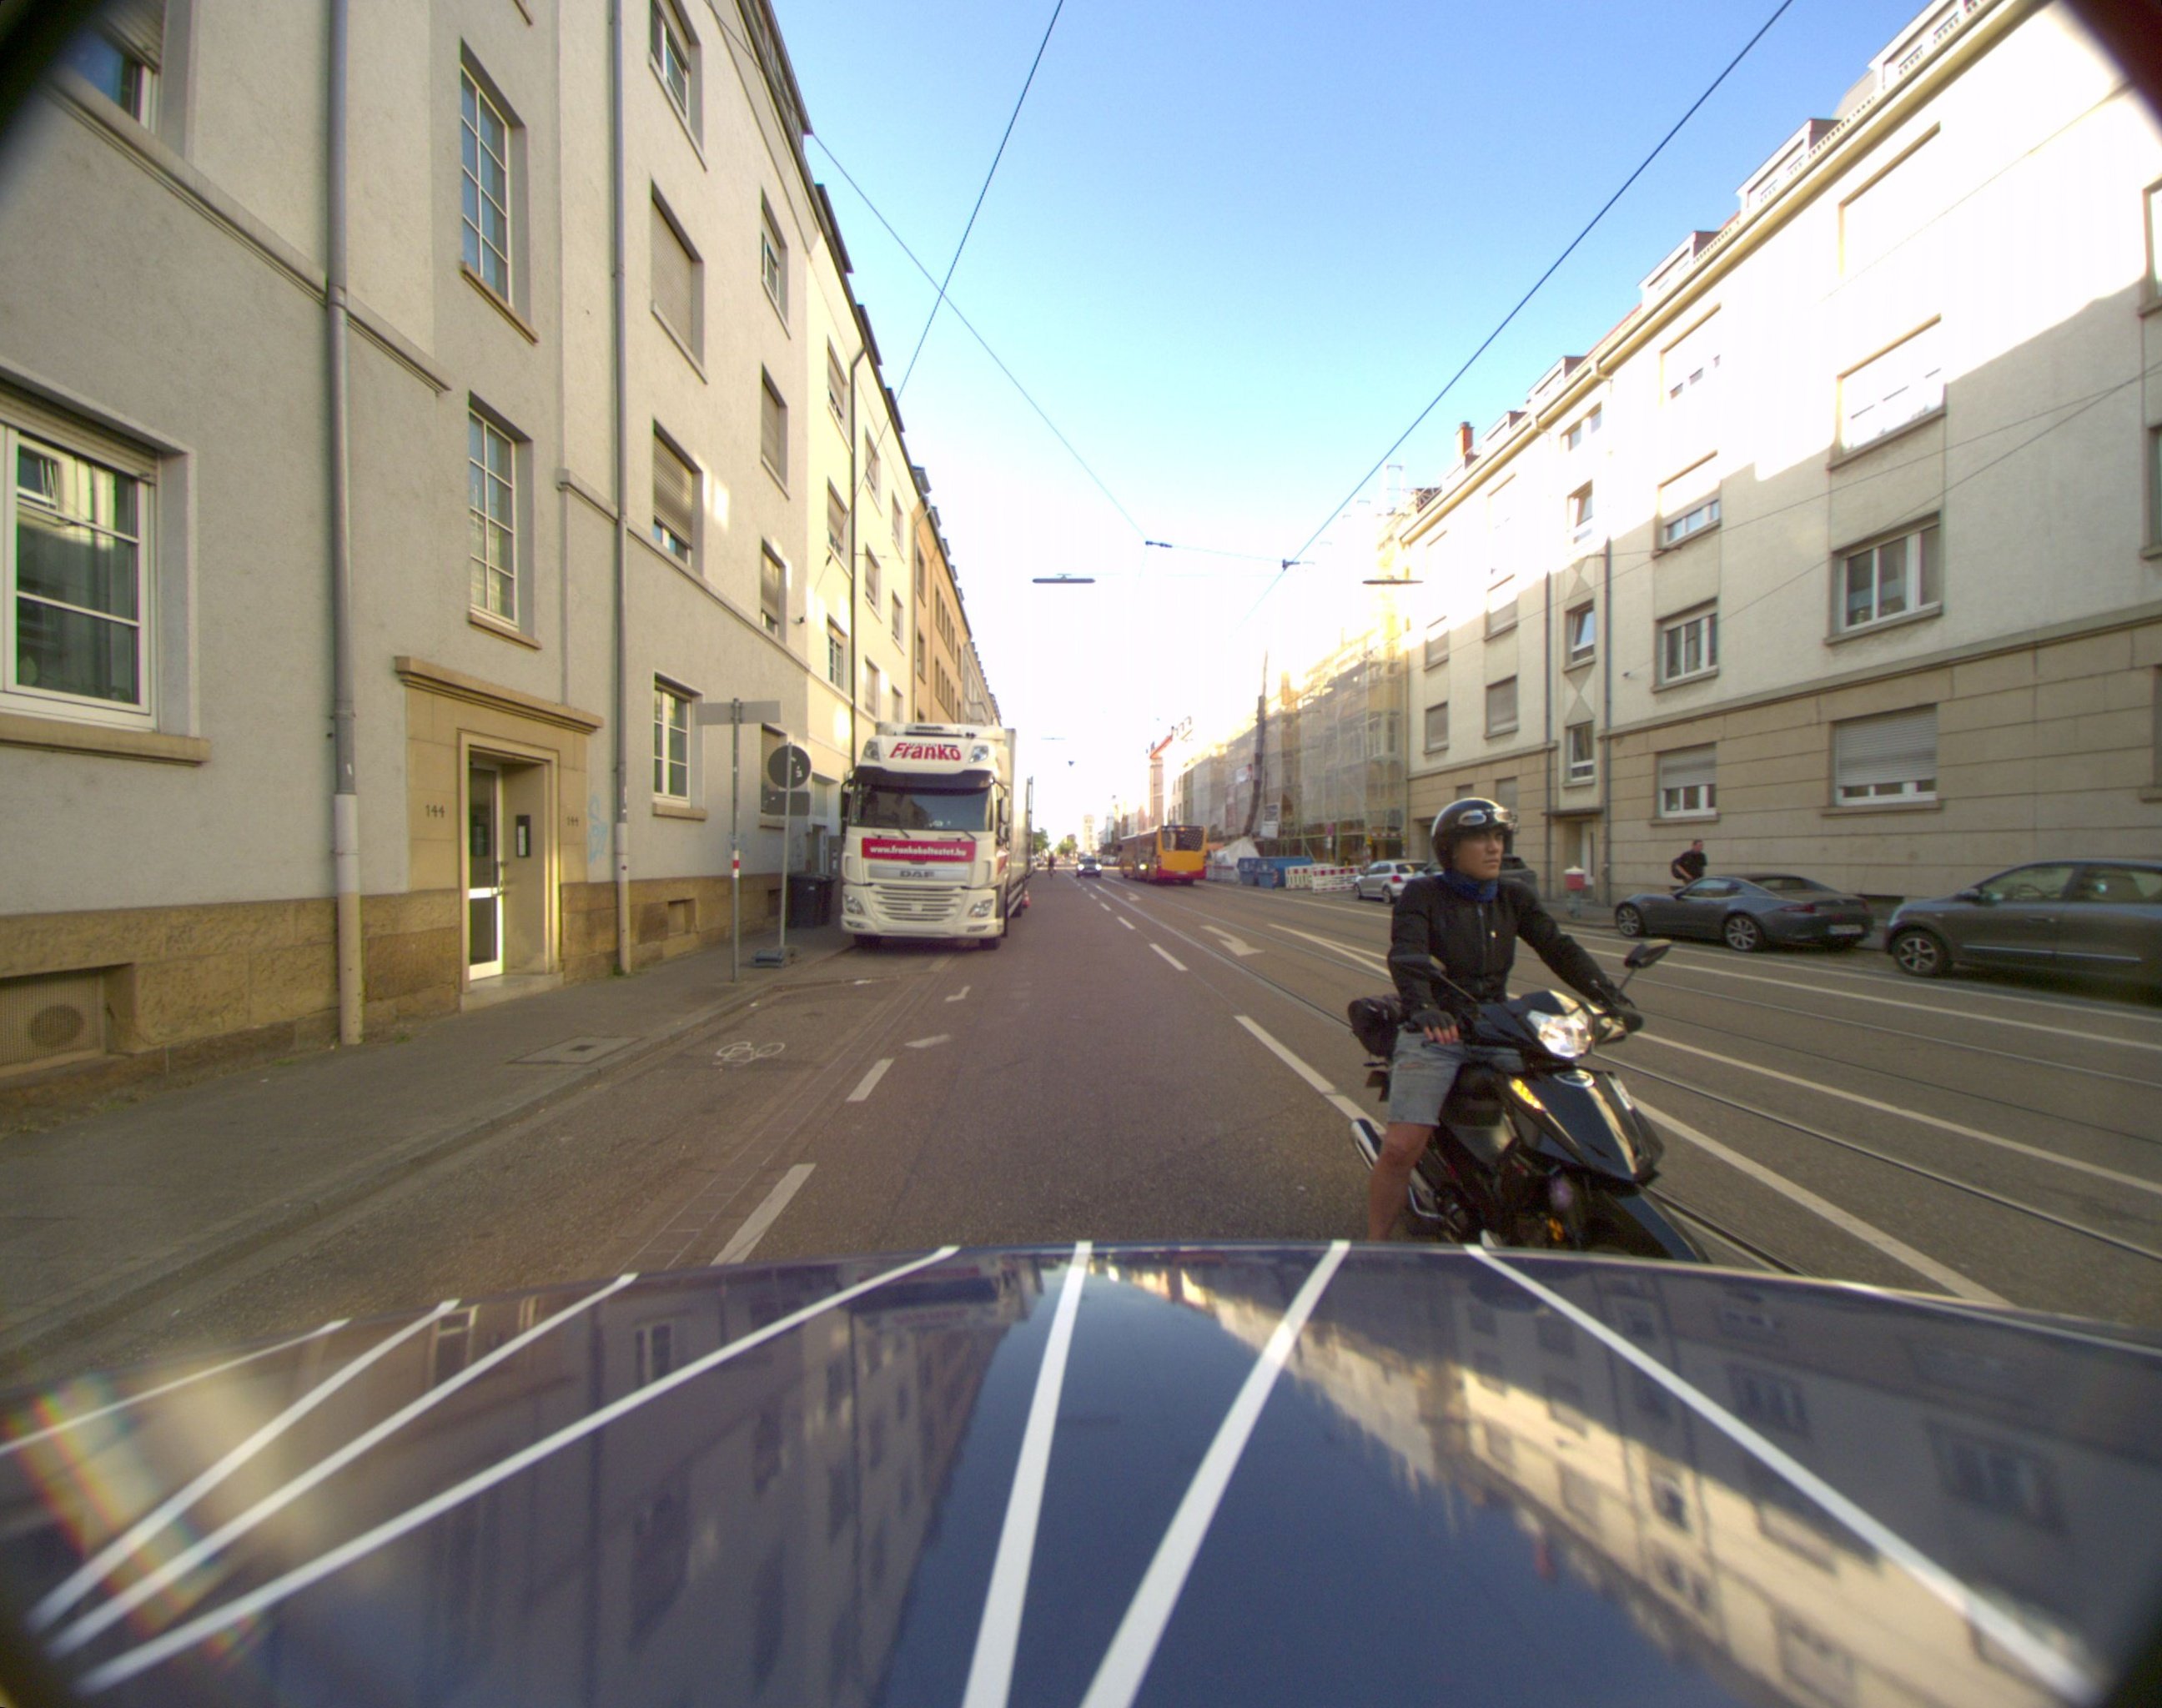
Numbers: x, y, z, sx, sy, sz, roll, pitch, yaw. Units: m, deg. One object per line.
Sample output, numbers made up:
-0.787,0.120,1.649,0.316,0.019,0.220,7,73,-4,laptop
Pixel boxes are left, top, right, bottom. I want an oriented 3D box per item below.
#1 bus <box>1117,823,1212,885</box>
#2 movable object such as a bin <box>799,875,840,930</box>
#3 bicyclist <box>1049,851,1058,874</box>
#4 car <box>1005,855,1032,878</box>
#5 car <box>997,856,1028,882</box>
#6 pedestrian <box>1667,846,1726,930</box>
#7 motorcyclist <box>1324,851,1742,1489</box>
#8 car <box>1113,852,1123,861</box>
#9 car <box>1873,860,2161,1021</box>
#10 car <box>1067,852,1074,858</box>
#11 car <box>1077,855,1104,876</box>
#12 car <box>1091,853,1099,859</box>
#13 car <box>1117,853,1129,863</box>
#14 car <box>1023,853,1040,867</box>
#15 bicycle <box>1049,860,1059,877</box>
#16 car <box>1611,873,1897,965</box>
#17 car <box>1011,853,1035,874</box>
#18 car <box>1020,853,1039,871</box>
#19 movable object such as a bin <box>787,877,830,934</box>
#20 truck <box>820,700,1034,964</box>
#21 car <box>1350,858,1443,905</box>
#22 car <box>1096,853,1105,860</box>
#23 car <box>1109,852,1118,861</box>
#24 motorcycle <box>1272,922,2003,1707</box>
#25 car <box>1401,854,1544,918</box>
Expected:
4.598,0.003,47.386,2.755,3.095,19.156,0,0,-3,bus
-5.407,0.995,15.720,0.666,1.087,0.570,0,1,-2,movable object such as a bin
-1.895,0.587,52.614,0.618,1.620,0.759,0,1,-4,bicyclist
-4.311,0.824,53.001,1.685,1.522,4.148,-2,0,-3,car
-4.184,0.892,47.199,1.685,1.522,4.148,-2,0,-3,car
12.778,0.685,15.787,0.605,1.699,0.730,0,1,-2,pedestrian
1.301,0.815,2.402,0.791,1.645,0.900,0,1,1,motorcyclist
6.521,0.460,134.413,1.684,1.478,3.966,-2,0,1,car
11.410,0.860,8.331,1.679,1.519,3.539,-1,0,-3,car
-3.159,0.333,225.483,1.999,1.838,3.998,0,0,-4,car
0.663,0.792,56.242,1.685,1.454,4.148,-2,0,-3,car
3.525,0.600,191.758,1.684,1.478,3.965,-2,0,-1,car
6.589,0.618,118.647,1.684,1.478,3.966,-2,0,1,car
-5.359,0.643,82.755,1.685,1.522,4.148,-2,0,-3,car
-1.897,0.997,52.601,0.618,1.097,1.885,0,0,-4,bicycle
11.173,1.000,12.993,1.520,1.227,3.685,-1,0,-3,car
-4.519,0.741,59.169,1.685,1.522,4.148,-2,0,-3,car
-4.864,0.743,72.109,1.685,1.522,4.148,-2,0,-3,car
-5.390,1.003,15.051,0.666,1.087,0.570,0,1,-2,movable object such as a bin
-2.633,-0.324,17.192,2.782,3.903,11.816,0,0,-2,truck
10.602,0.881,25.791,1.543,1.404,3.510,-1,0,-3,car
4.248,0.610,167.823,1.684,1.478,3.965,-2,0,-1,car
5.948,0.438,139.355,1.684,1.478,3.966,-2,0,1,car
1.302,0.972,2.531,0.791,1.284,2.273,0,0,1,motorcycle
10.803,0.805,21.343,1.696,1.590,4.206,-1,0,-3,car
